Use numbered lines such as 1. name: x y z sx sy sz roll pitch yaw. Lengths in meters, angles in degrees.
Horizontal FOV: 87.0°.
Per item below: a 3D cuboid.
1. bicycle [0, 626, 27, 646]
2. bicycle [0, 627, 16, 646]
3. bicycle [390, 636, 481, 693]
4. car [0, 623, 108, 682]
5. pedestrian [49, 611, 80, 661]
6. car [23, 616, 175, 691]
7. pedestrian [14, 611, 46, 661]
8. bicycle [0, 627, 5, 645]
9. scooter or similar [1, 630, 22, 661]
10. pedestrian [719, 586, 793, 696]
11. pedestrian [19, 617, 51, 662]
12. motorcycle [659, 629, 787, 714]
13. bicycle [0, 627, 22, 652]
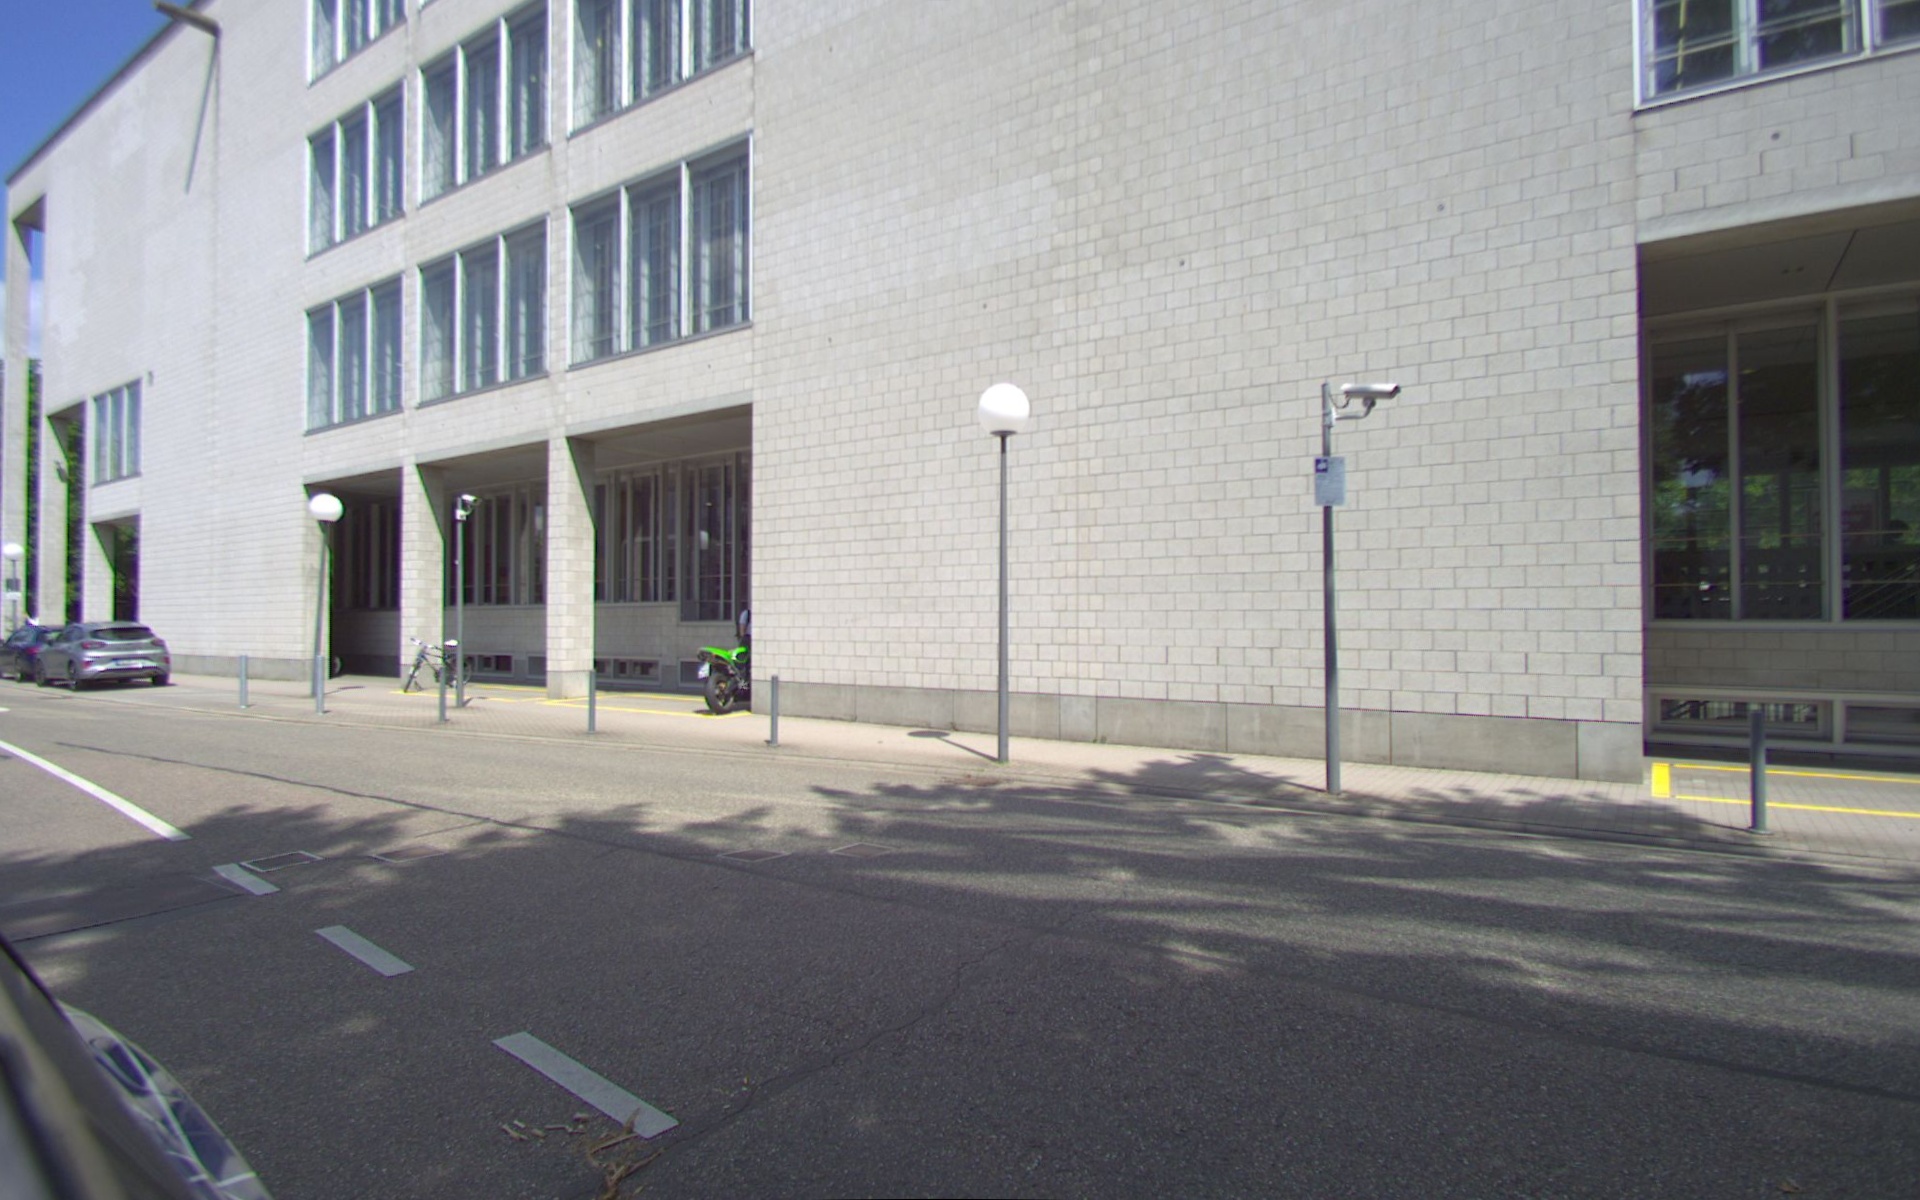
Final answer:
1. bicycle: -58.544 2.197 62.002 0.743 1.166 2.121 0 0 5
2. bicycle: -59.291 2.253 62.080 0.674 1.115 2.121 0 0 5
3. bicycle: -10.963 1.334 21.186 0.605 1.095 1.627 -1 -1 29
4. car: -24.567 1.356 27.012 4.654 1.433 1.711 -1 -1 35
5. pedestrian: -36.868 1.461 41.662 1.078 2.029 0.746 -1 -1 34
6. car: -20.454 1.197 23.985 4.396 1.546 1.711 0 1 35
7. pedestrian: -38.111 1.468 41.454 1.078 2.029 0.746 -1 -1 34
8. bicycle: -60.031 2.259 62.138 0.674 1.115 2.121 0 0 5
9. scooter or similar: -36.622 1.747 39.072 1.310 1.153 0.314 -1 -1 35
10. pedestrian: -3.554 0.703 17.606 1.011 1.852 0.770 -1 -1 34
11. pedestrian: -37.225 1.585 40.724 1.078 1.794 0.746 -1 -1 34
12. motorcycle: -3.609 1.057 15.644 0.770 1.146 2.155 -1 0 24
13. bicycle: -43.958 1.823 46.657 1.994 1.115 0.503 -1 -1 31
